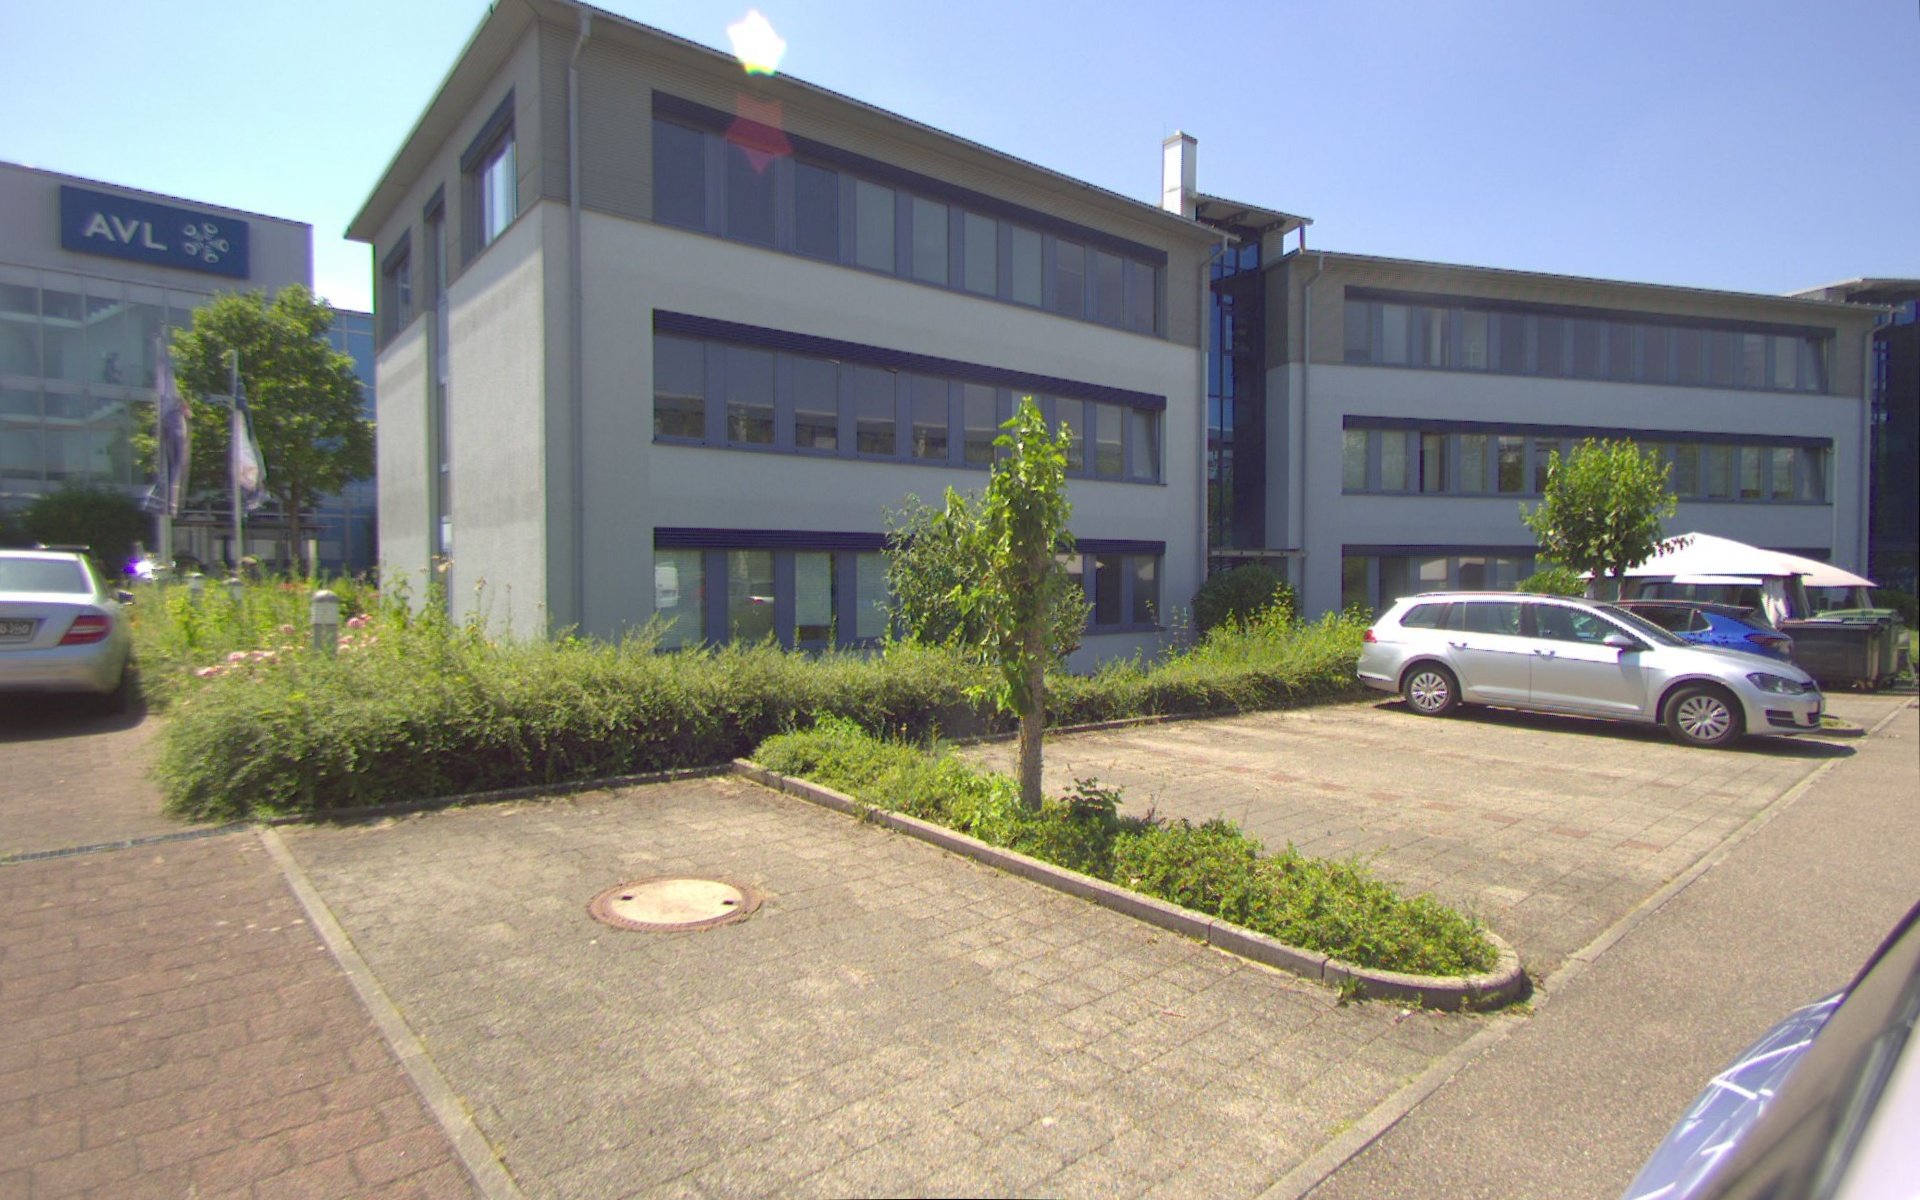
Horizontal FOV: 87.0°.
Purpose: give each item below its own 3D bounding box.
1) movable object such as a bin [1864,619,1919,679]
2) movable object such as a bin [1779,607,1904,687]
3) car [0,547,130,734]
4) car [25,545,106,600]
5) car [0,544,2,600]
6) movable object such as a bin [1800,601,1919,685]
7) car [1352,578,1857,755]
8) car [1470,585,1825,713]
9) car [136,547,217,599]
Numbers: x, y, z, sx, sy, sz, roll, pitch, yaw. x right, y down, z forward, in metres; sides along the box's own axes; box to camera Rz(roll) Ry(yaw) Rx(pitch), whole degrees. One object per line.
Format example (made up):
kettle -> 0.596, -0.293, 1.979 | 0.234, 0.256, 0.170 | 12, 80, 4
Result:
movable object such as a bin -> 16.109, 0.833, 17.420 | 0.709, 0.961, 0.691 | 0, 1, -37
movable object such as a bin -> 14.357, 0.731, 16.497 | 0.979, 1.204, 1.364 | 0, 1, -37
car -> -8.705, 0.279, 9.183 | 1.700, 1.454, 3.711 | 0, 1, -41
car -> -26.682, -0.806, 30.171 | 1.720, 1.538, 3.992 | 0, 1, -42
car -> -28.704, -0.806, 28.804 | 3.983, 1.538, 1.724 | 1, 1, 41
movable object such as a bin -> 15.197, 0.686, 17.086 | 1.024, 1.312, 1.364 | 0, 1, -37
car -> 7.042, 0.564, 11.462 | 1.799, 1.515, 4.511 | 0, 2, -43
car -> 9.432, 0.563, 14.100 | 1.624, 1.409, 3.819 | 0, 3, -43
car -> -24.624, -0.836, 31.763 | 1.720, 1.538, 3.992 | 0, 1, -42
